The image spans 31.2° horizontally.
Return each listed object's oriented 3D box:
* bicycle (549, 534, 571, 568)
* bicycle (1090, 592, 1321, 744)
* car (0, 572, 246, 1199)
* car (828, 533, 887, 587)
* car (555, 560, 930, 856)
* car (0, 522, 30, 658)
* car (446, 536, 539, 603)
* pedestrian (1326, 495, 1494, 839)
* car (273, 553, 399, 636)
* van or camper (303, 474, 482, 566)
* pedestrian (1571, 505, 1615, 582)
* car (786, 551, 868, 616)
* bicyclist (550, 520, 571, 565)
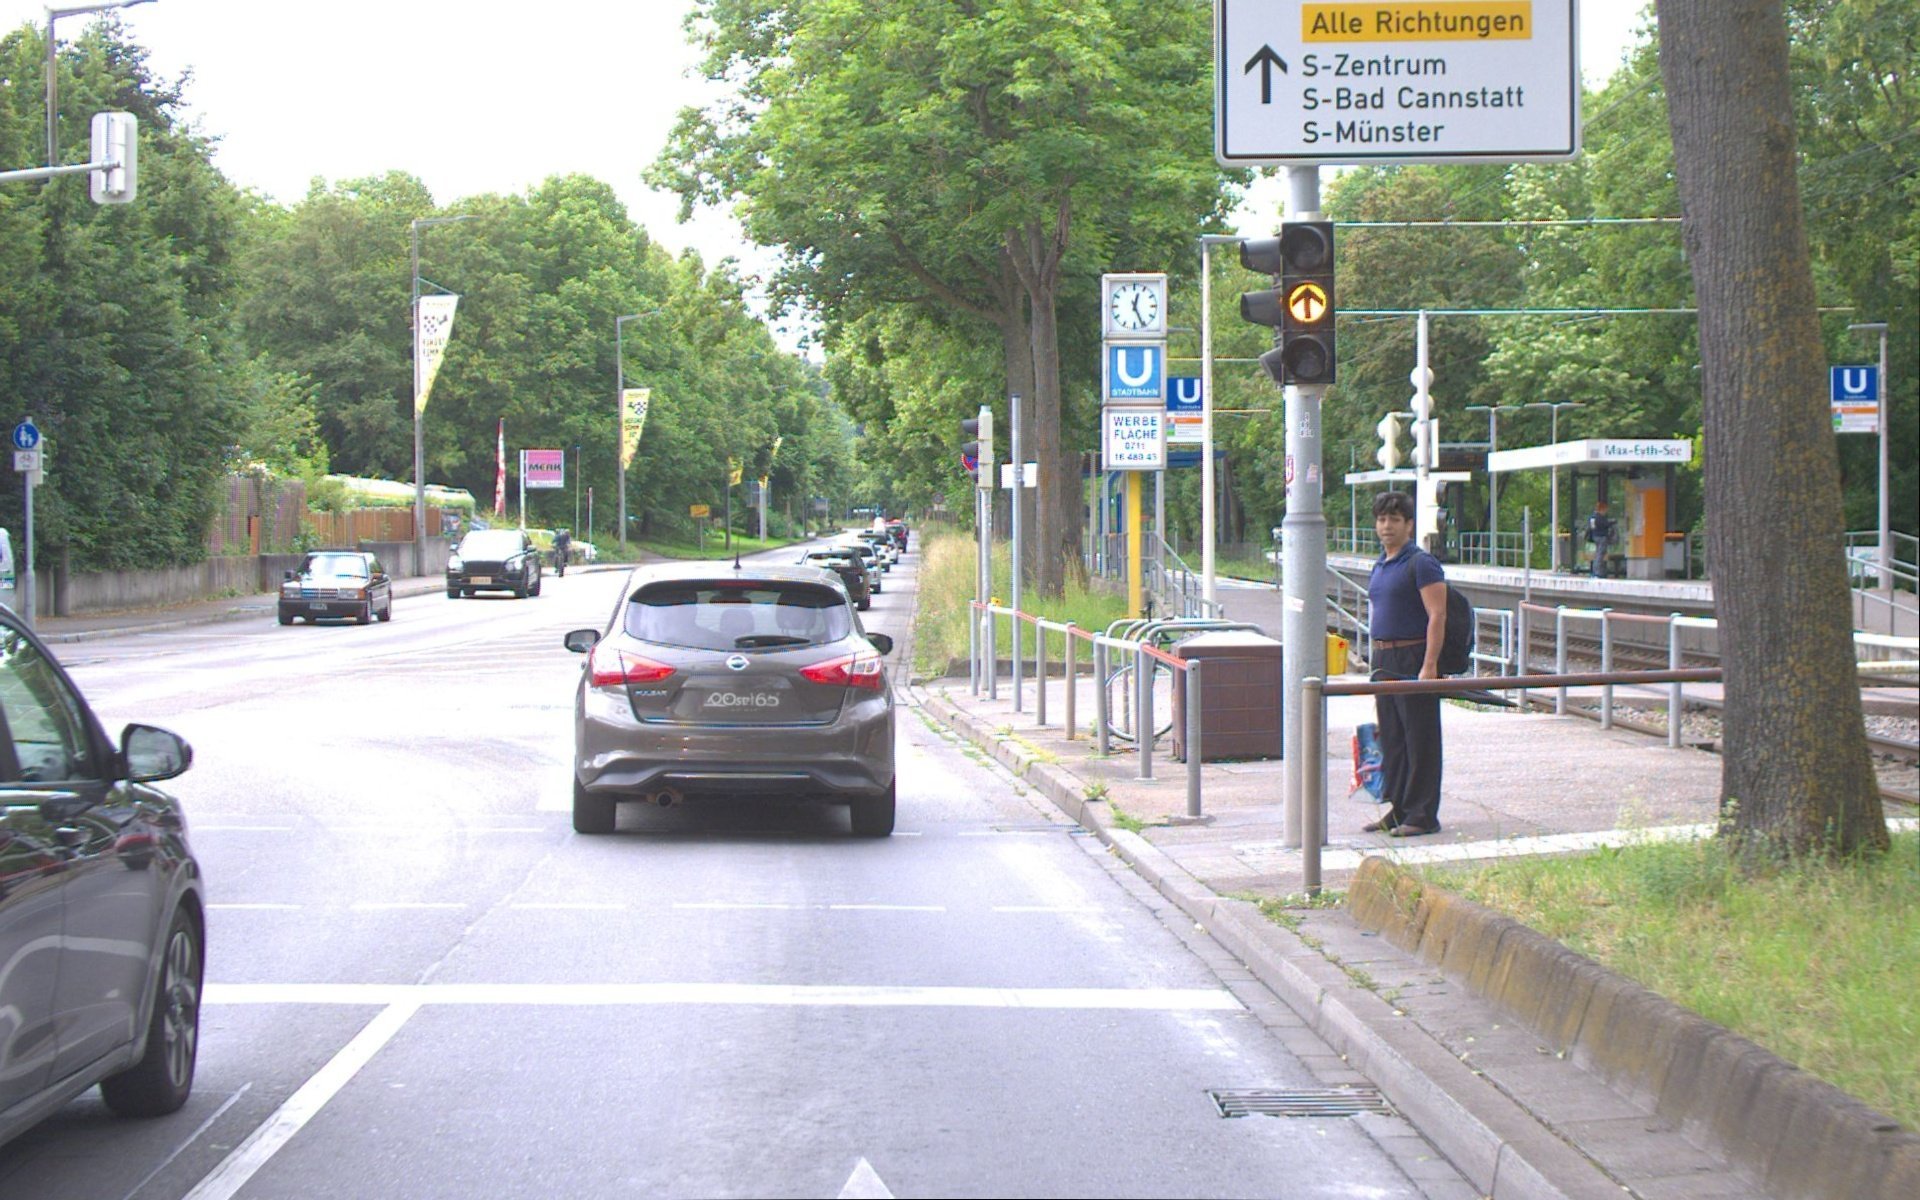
[{"bbox_3d":[-13.709,-1.677,117.856,0.642,1.141,2.148,2,1,-5],"label":"bicycle"},{"bbox_3d":[1.901,0.521,26.690,1.674,1.086,0.602,-3,0,-4],"label":"bicycle"},{"bbox_3d":[-2.886,0.679,8.006,1.703,1.475,3.667,0,1,0],"label":"car"},{"bbox_3d":[-2.988,-1.166,100.564,1.503,1.523,3.671,1,1,1],"label":"car"},{"bbox_3d":[-1.169,0.546,20.126,1.837,1.523,3.929,1,1,1],"label":"car"},{"bbox_3d":[-14.879,-0.157,46.293,1.945,1.867,4.534,1,1,28],"label":"car"},{"bbox_3d":[-11.978,-0.791,88.313,1.901,1.673,5.081,0,1,-3],"label":"car"},{"bbox_3d":[2.341,0.339,17.962,0.752,1.731,0.839,-2,0,4],"label":"pedestrian"},{"bbox_3d":[-11.783,-0.114,65.135,1.741,1.459,4.343,2,0,-3],"label":"car"},{"bbox_3d":[-24.938,-3.529,151.364,7.141,3.359,2.797,5,1,0],"label":"van or camper"},{"bbox_3d":[12.742,-1.136,69.206,0.718,1.506,0.724,2,0,2],"label":"pedestrian"},{"bbox_3d":[-3.137,-0.397,81.714,1.710,1.470,3.671,1,1,1],"label":"car"},{"bbox_3d":[-13.693,-1.970,117.811,0.642,1.530,0.979,2,1,-5],"label":"bicyclist"}]
